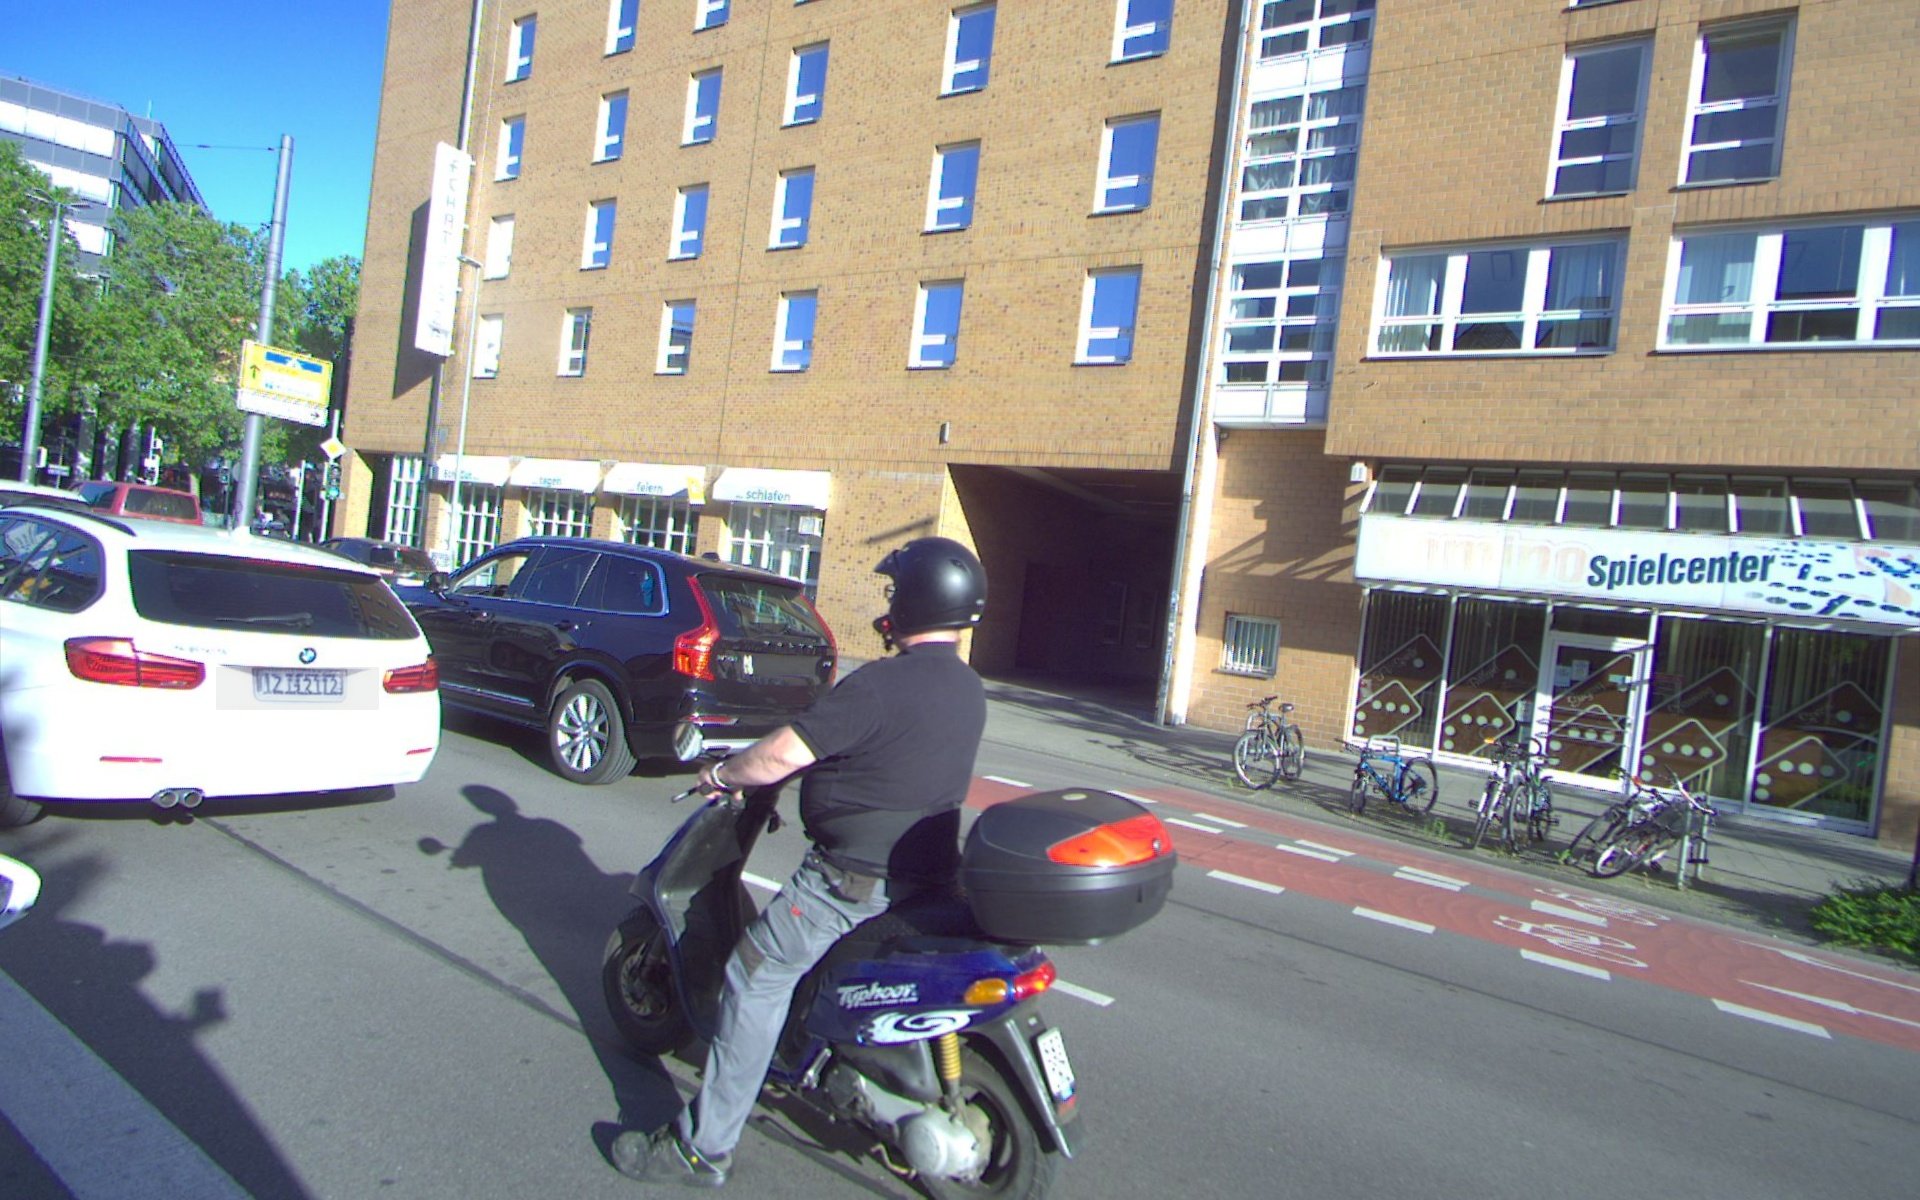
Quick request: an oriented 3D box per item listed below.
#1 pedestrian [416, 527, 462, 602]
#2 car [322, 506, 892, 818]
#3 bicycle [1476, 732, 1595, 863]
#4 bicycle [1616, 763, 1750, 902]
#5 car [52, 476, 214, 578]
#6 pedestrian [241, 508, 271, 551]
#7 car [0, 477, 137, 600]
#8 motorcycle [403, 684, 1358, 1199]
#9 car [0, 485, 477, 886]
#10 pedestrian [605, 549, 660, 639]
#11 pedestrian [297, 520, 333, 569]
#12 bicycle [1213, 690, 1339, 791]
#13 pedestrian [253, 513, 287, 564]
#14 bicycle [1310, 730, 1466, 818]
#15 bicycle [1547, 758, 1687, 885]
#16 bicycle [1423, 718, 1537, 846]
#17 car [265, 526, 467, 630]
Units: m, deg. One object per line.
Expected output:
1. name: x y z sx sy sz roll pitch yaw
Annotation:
1. pedestrian: -13.528 -0.921 26.131 0.736 1.844 0.607 7 1 31
2. car: -3.086 0.389 8.500 4.556 1.779 1.979 7 -2 32
3. bicycle: 5.883 1.950 10.233 0.547 1.088 1.941 7 1 42
4. bicycle: 6.695 2.090 9.273 1.937 1.035 0.496 6 1 -41
5. car: -20.245 -1.797 24.592 3.935 1.985 1.862 7 0 33
6. pedestrian: -29.639 -2.964 42.342 0.511 1.680 0.698 7 -1 32
7. car: -15.621 -1.138 16.506 4.306 1.659 1.854 7 -1 32
8. motorcycle: -0.356 0.951 2.779 2.509 1.075 0.838 7 0 31
9. car: -4.896 0.212 5.722 4.336 1.514 1.696 7 -2 32
10. pedestrian: -7.053 -0.131 21.669 0.736 1.844 0.607 7 1 31
11. pedestrian: -24.312 -2.086 37.942 0.511 1.680 0.828 7 -1 32
12. bicycle: 3.977 1.719 12.564 0.617 1.088 1.940 7 1 43
13. pedestrian: -24.573 -2.189 35.835 0.511 1.680 0.685 7 -1 32
14. bicycle: 4.868 1.961 11.383 1.931 0.846 0.550 6 1 -32
15. bicycle: 6.349 2.075 9.679 1.937 0.981 0.548 6 1 -41
16. bicycle: 5.512 1.859 10.593 0.484 1.151 1.941 7 1 42
17. car: -11.735 -0.445 19.811 3.933 1.549 1.669 7 0 31
